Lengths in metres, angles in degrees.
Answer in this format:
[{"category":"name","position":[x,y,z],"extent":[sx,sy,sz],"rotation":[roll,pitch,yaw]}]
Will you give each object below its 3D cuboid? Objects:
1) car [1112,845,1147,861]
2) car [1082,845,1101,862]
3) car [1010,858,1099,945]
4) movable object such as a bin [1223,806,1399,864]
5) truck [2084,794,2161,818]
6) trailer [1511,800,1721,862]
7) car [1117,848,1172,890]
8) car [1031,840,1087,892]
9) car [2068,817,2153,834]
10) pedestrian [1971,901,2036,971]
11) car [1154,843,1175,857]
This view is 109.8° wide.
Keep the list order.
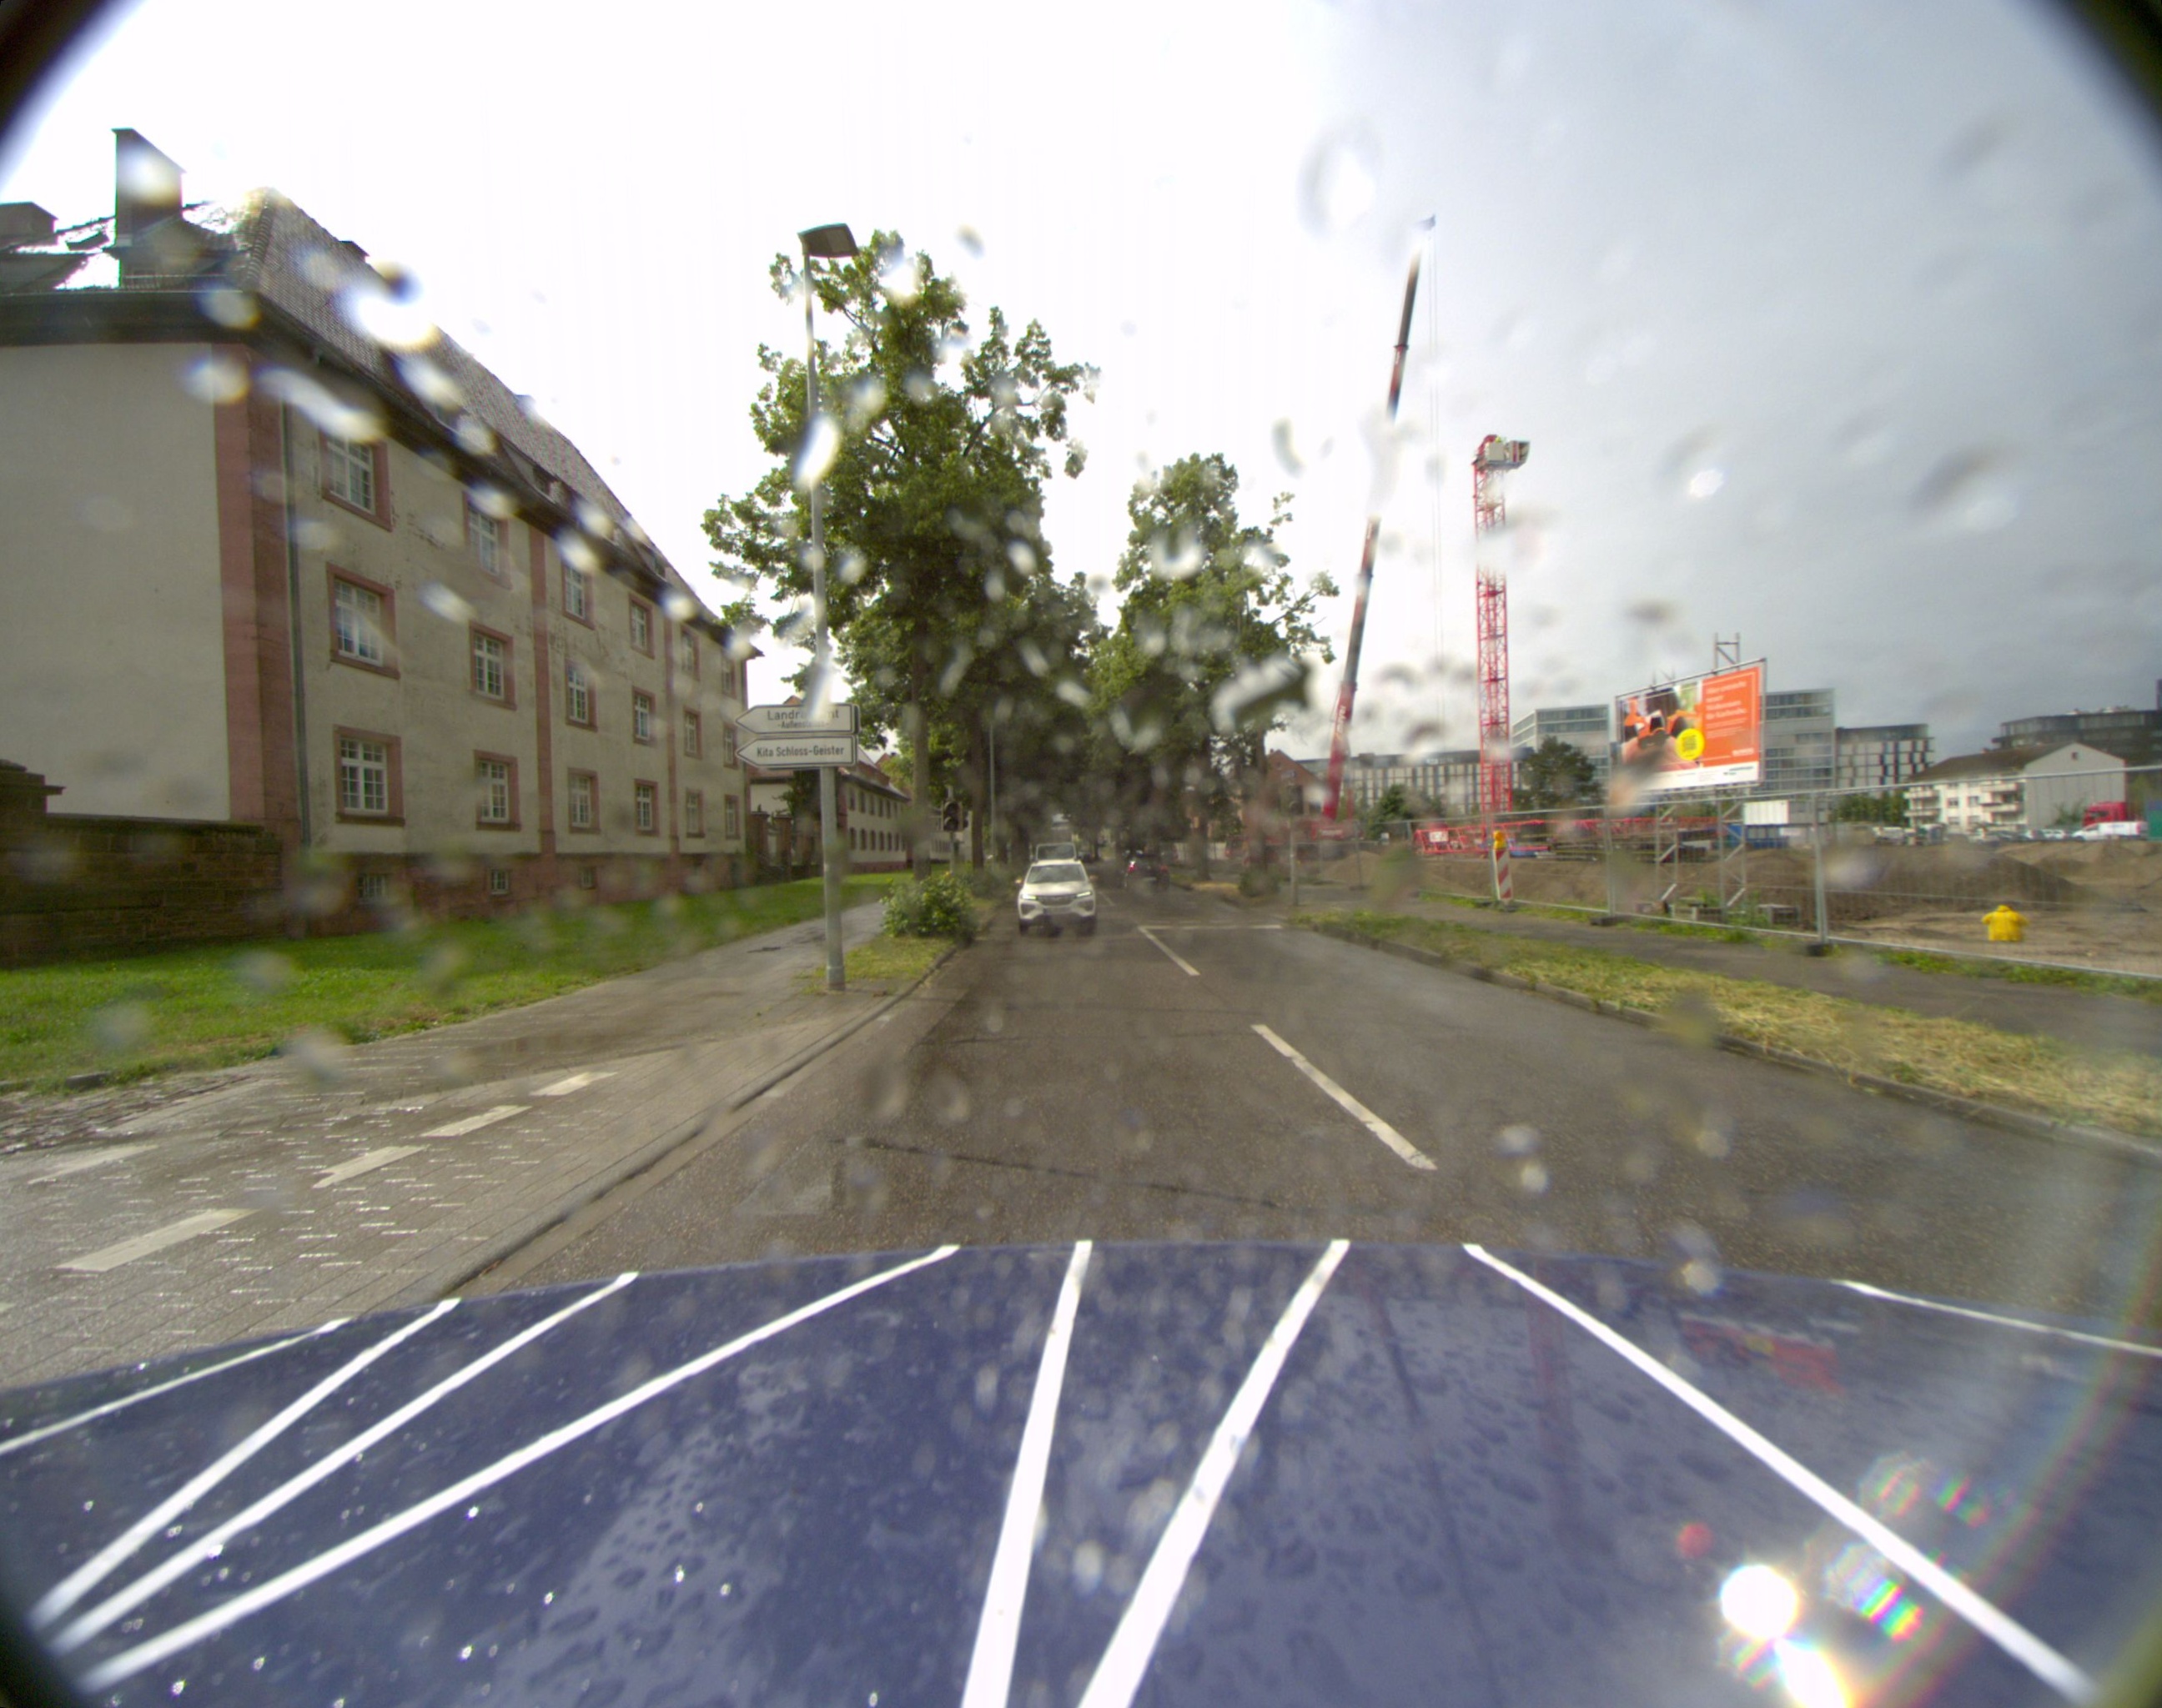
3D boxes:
[{"category":"car","position":[5.566,-0.132,87.267],"extent":[3.870,1.543,1.697],"rotation":[-3,2,-2]},{"category":"car","position":[0.987,-0.054,76.499],"extent":[1.818,1.532,3.980],"rotation":[0,2,0]},{"category":"car","position":[-0.567,0.913,16.483],"extent":[1.609,1.499,3.998],"rotation":[-3,1,-2]},{"category":"movable object such as a bin","position":[22.072,-1.800,73.588],"extent":[15.945,4.533,3.101],"rotation":[-3,2,1]},{"category":"truck","position":[102.584,-4.714,73.531],"extent":[1.901,2.068,6.318],"rotation":[-4,2,-19]},{"category":"trailer","position":[34.201,-1.438,49.926],"extent":[2.968,3.215,14.303],"rotation":[-5,1,-3]},{"category":"car","position":[2.487,0.561,30.825],"extent":[1.845,1.598,3.999],"rotation":[0,1,-1]},{"category":"car","position":[-1.074,0.446,33.800],"extent":[2.108,1.990,5.431],"rotation":[-4,2,-4]},{"category":"car","position":[97.302,-2.668,71.886],"extent":[1.821,1.509,4.579],"rotation":[-3,2,1]},{"category":"pedestrian","position":[23.822,2.099,19.634],"extent":[0.588,1.675,0.849],"rotation":[1,1,3]},{"category":"car","position":[10.106,-0.471,92.217],"extent":[1.694,1.521,3.997],"rotation":[-4,2,-4]}]
